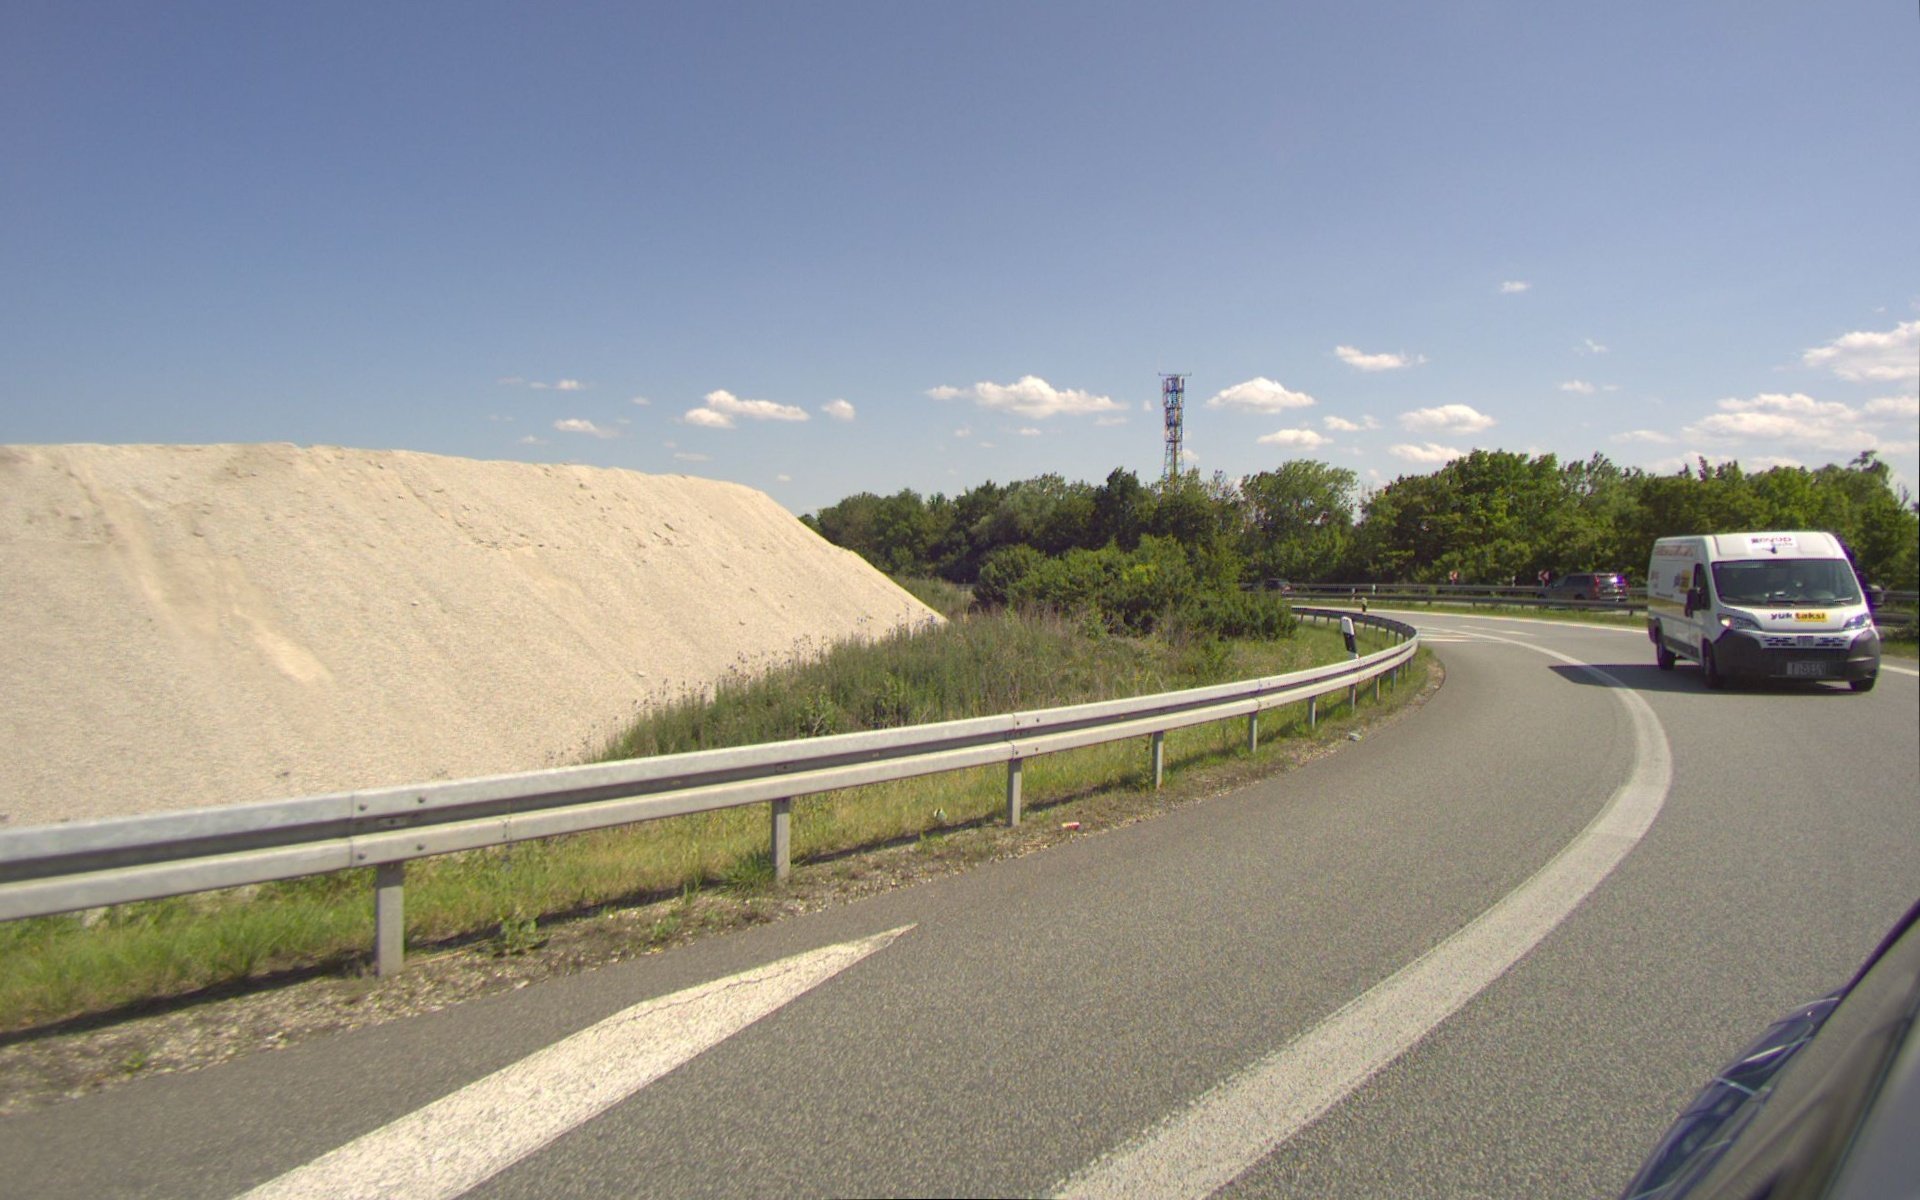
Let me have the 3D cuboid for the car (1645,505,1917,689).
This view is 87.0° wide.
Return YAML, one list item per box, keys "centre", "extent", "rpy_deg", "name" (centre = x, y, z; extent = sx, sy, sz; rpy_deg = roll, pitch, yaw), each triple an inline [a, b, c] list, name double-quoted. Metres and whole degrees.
- centre: [13.646, -0.025, 17.366]
  extent: [2.067, 2.556, 6.182]
  rpy_deg: [-3, -1, 25]
  name: "car"

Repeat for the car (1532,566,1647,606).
- centre: [29.505, -0.650, 47.664]
  extent: [1.961, 1.752, 5.200]
  rpy_deg: [-1, 1, -2]
  name: "car"

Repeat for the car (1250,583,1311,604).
- centre: [24.041, -0.488, 76.090]
  extent: [1.762, 1.466, 4.711]
  rpy_deg: [-2, 1, -22]
  name: "car"
